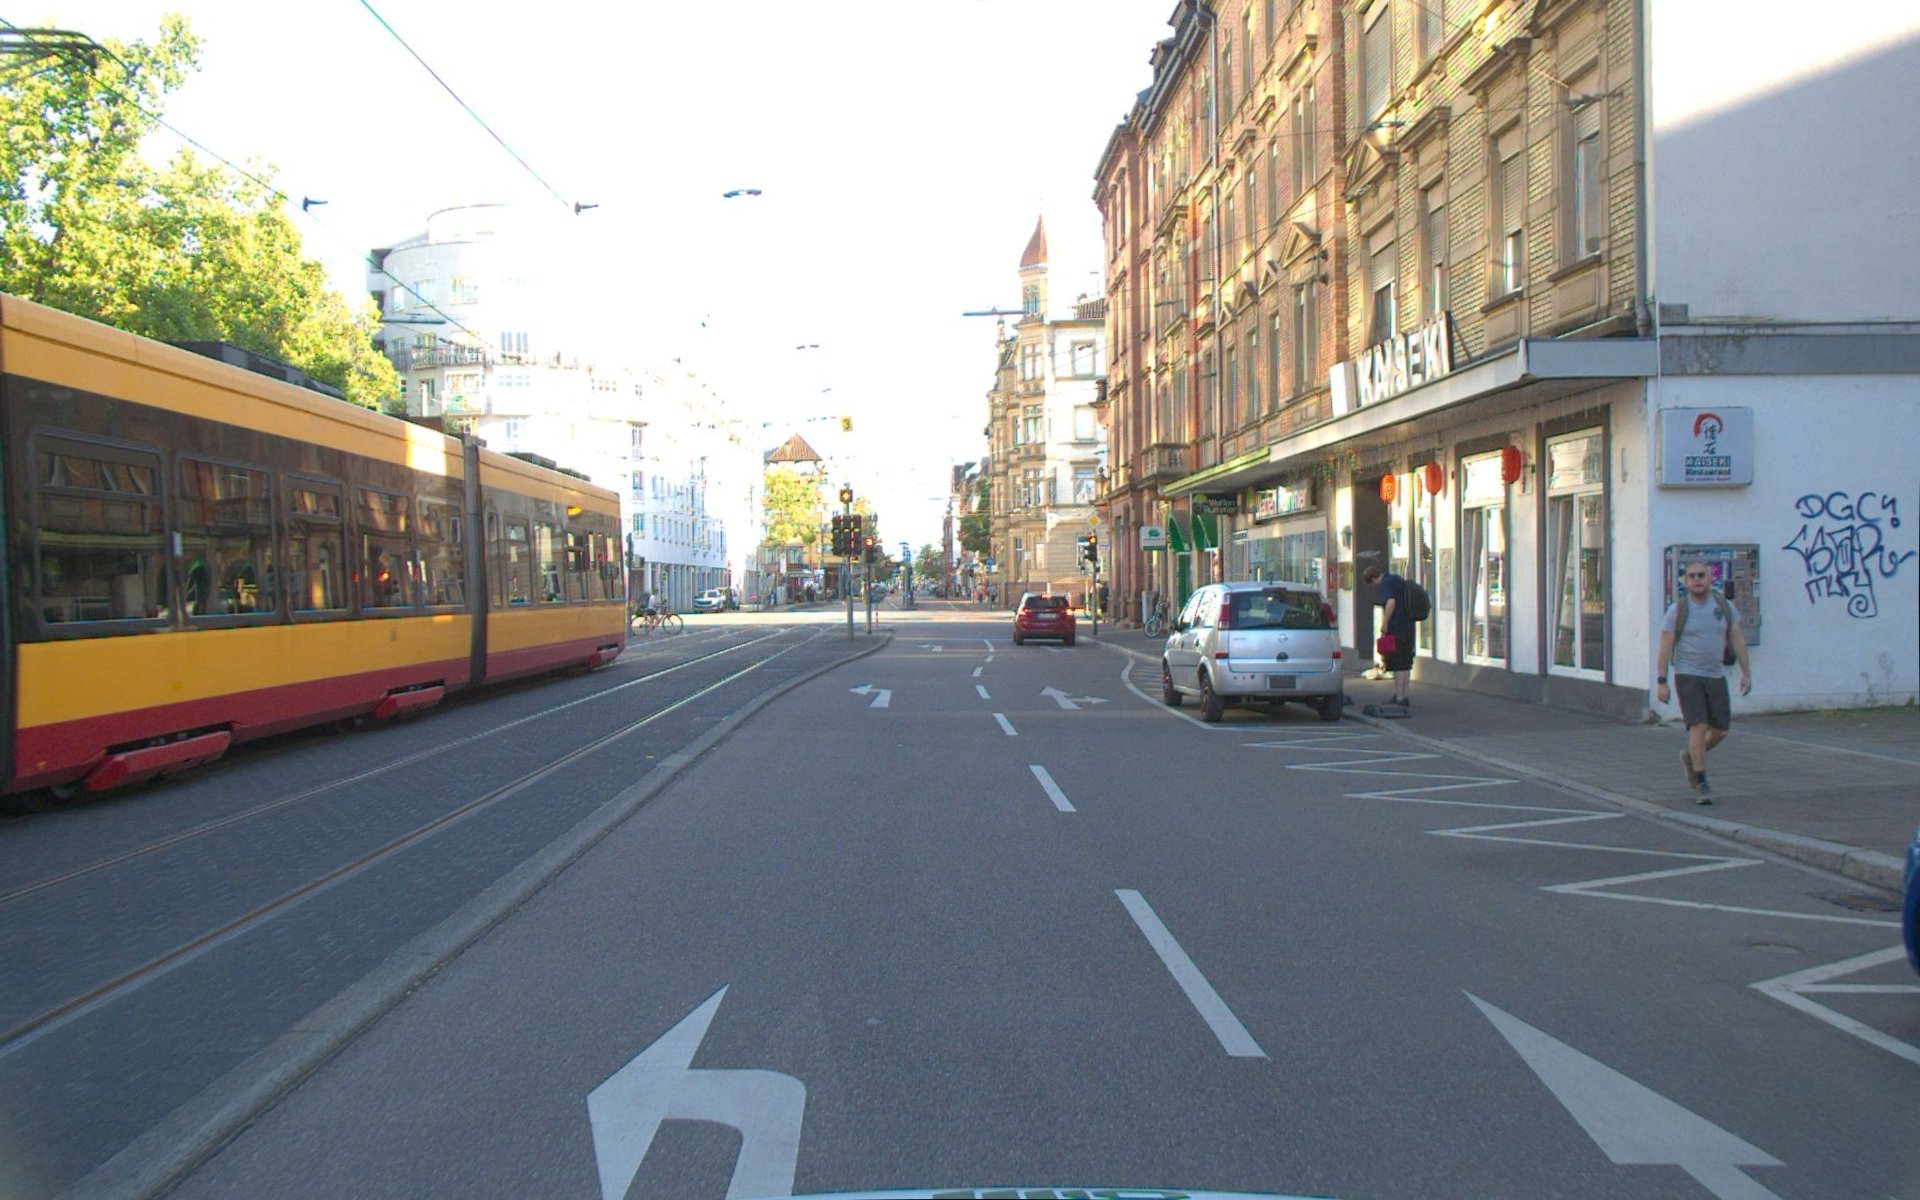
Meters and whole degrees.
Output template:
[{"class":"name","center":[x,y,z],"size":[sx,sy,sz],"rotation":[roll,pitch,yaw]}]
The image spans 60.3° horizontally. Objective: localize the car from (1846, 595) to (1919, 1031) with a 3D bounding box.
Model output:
[{"class":"car","center":[4.243,0.770,4.362],"size":[1.605,1.518,3.792],"rotation":[2,0,-3]}]

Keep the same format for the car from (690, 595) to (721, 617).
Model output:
[{"class":"car","center":[-18.753,0.420,121.890],"size":[1.729,1.573,3.460],"rotation":[-1,0,-1]}]

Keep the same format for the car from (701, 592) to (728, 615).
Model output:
[{"class":"car","center":[-19.498,0.247,131.509],"size":[1.667,1.748,3.563],"rotation":[-1,0,-2]}]

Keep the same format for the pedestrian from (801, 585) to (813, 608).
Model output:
[{"class":"pedestrian","center":[-13.746,-0.286,148.835],"size":[1.024,2.049,0.958],"rotation":[0,0,-4]}]

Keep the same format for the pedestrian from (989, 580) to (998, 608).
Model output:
[{"class":"pedestrian","center":[2.471,-0.467,121.377],"size":[0.638,2.049,0.759],"rotation":[0,0,-2]}]

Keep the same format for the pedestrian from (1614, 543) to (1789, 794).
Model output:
[{"class":"pedestrian","center":[5.542,0.499,12.418],"size":[0.771,1.768,0.945],"rotation":[-3,-1,-2]}]

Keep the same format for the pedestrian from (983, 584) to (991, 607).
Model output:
[{"class":"pedestrian","center":[2.387,-0.369,147.452],"size":[0.633,2.049,0.683],"rotation":[0,0,-1]}]

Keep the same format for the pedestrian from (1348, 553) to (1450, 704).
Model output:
[{"class":"pedestrian","center":[5.510,0.347,20.813],"size":[0.927,1.824,1.054],"rotation":[-1,0,-2]}]

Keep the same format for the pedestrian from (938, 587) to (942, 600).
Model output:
[{"class":"pedestrian","center":[-2.991,-0.976,245.729],"size":[0.565,1.920,0.669],"rotation":[0,0,-1]}]

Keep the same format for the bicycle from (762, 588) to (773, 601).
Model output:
[{"class":"bicycle","center":[-17.401,-0.524,149.706],"size":[0.791,1.167,2.010],"rotation":[-1,0,-1]}]

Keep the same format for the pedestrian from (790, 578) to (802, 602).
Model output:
[{"class":"pedestrian","center":[-14.156,-0.856,142.482],"size":[0.936,2.049,1.048],"rotation":[-1,0,-1]}]

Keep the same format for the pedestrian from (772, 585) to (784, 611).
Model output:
[{"class":"pedestrian","center":[-12.611,-0.152,114.781],"size":[0.752,1.761,0.573],"rotation":[0,0,1]}]

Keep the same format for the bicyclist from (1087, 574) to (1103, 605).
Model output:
[{"class":"bicyclist","center":[6.330,-0.476,77.625],"size":[0.651,1.434,0.417],"rotation":[-1,0,-33]}]

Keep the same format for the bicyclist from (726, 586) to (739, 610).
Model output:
[{"class":"bicyclist","center":[-16.265,-0.139,118.223],"size":[0.791,1.756,0.794],"rotation":[-1,0,-2]}]

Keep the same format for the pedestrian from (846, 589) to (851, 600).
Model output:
[{"class":"pedestrian","center":[-16.158,-0.753,238.910],"size":[0.619,1.632,0.576],"rotation":[0,0,-18]}]

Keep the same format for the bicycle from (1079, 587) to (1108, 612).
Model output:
[{"class":"bicycle","center":[6.275,-0.019,77.590],"size":[1.396,1.115,0.417],"rotation":[-1,0,-34]}]

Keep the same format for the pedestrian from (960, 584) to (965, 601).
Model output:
[{"class":"pedestrian","center":[0.331,-0.951,202.477],"size":[0.565,2.049,0.631],"rotation":[0,0,-1]}]

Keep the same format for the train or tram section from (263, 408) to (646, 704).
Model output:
[{"class":"train or tram section","center":[-7.462,-0.550,26.856],"size":[2.622,3.613,12.836],"rotation":[-1,0,-2]}]

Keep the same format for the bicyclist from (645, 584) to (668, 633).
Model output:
[{"class":"bicyclist","center":[-10.199,0.287,55.591],"size":[0.717,1.655,0.763],"rotation":[0,0,-13]}]

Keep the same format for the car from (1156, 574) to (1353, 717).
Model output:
[{"class":"car","center":[3.629,0.522,21.019],"size":[1.605,1.643,3.943],"rotation":[0,0,-3]}]

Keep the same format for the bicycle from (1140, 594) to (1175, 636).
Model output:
[{"class":"bicycle","center":[5.849,0.445,48.876],"size":[0.700,1.172,1.656],"rotation":[-2,0,17]}]

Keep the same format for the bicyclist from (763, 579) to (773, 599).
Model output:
[{"class":"bicyclist","center":[-17.398,-1.008,149.534],"size":[0.791,1.853,0.993],"rotation":[-1,0,-1]}]

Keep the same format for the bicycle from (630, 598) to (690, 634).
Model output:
[{"class":"bicycle","center":[-10.173,0.527,56.015],"size":[1.984,1.198,0.626],"rotation":[0,0,-14]}]

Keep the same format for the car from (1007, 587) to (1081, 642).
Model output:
[{"class":"car","center":[2.362,0.393,47.471],"size":[1.719,1.492,3.943],"rotation":[1,0,-3]}]

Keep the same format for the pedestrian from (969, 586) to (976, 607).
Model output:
[{"class":"pedestrian","center":[1.213,-0.343,160.211],"size":[0.565,2.049,0.631],"rotation":[0,0,5]}]

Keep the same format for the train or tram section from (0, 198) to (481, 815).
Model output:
[{"class":"train or tram section","center":[-7.089,-0.532,14.864],"size":[2.622,3.613,11.122],"rotation":[-1,0,-2]}]
